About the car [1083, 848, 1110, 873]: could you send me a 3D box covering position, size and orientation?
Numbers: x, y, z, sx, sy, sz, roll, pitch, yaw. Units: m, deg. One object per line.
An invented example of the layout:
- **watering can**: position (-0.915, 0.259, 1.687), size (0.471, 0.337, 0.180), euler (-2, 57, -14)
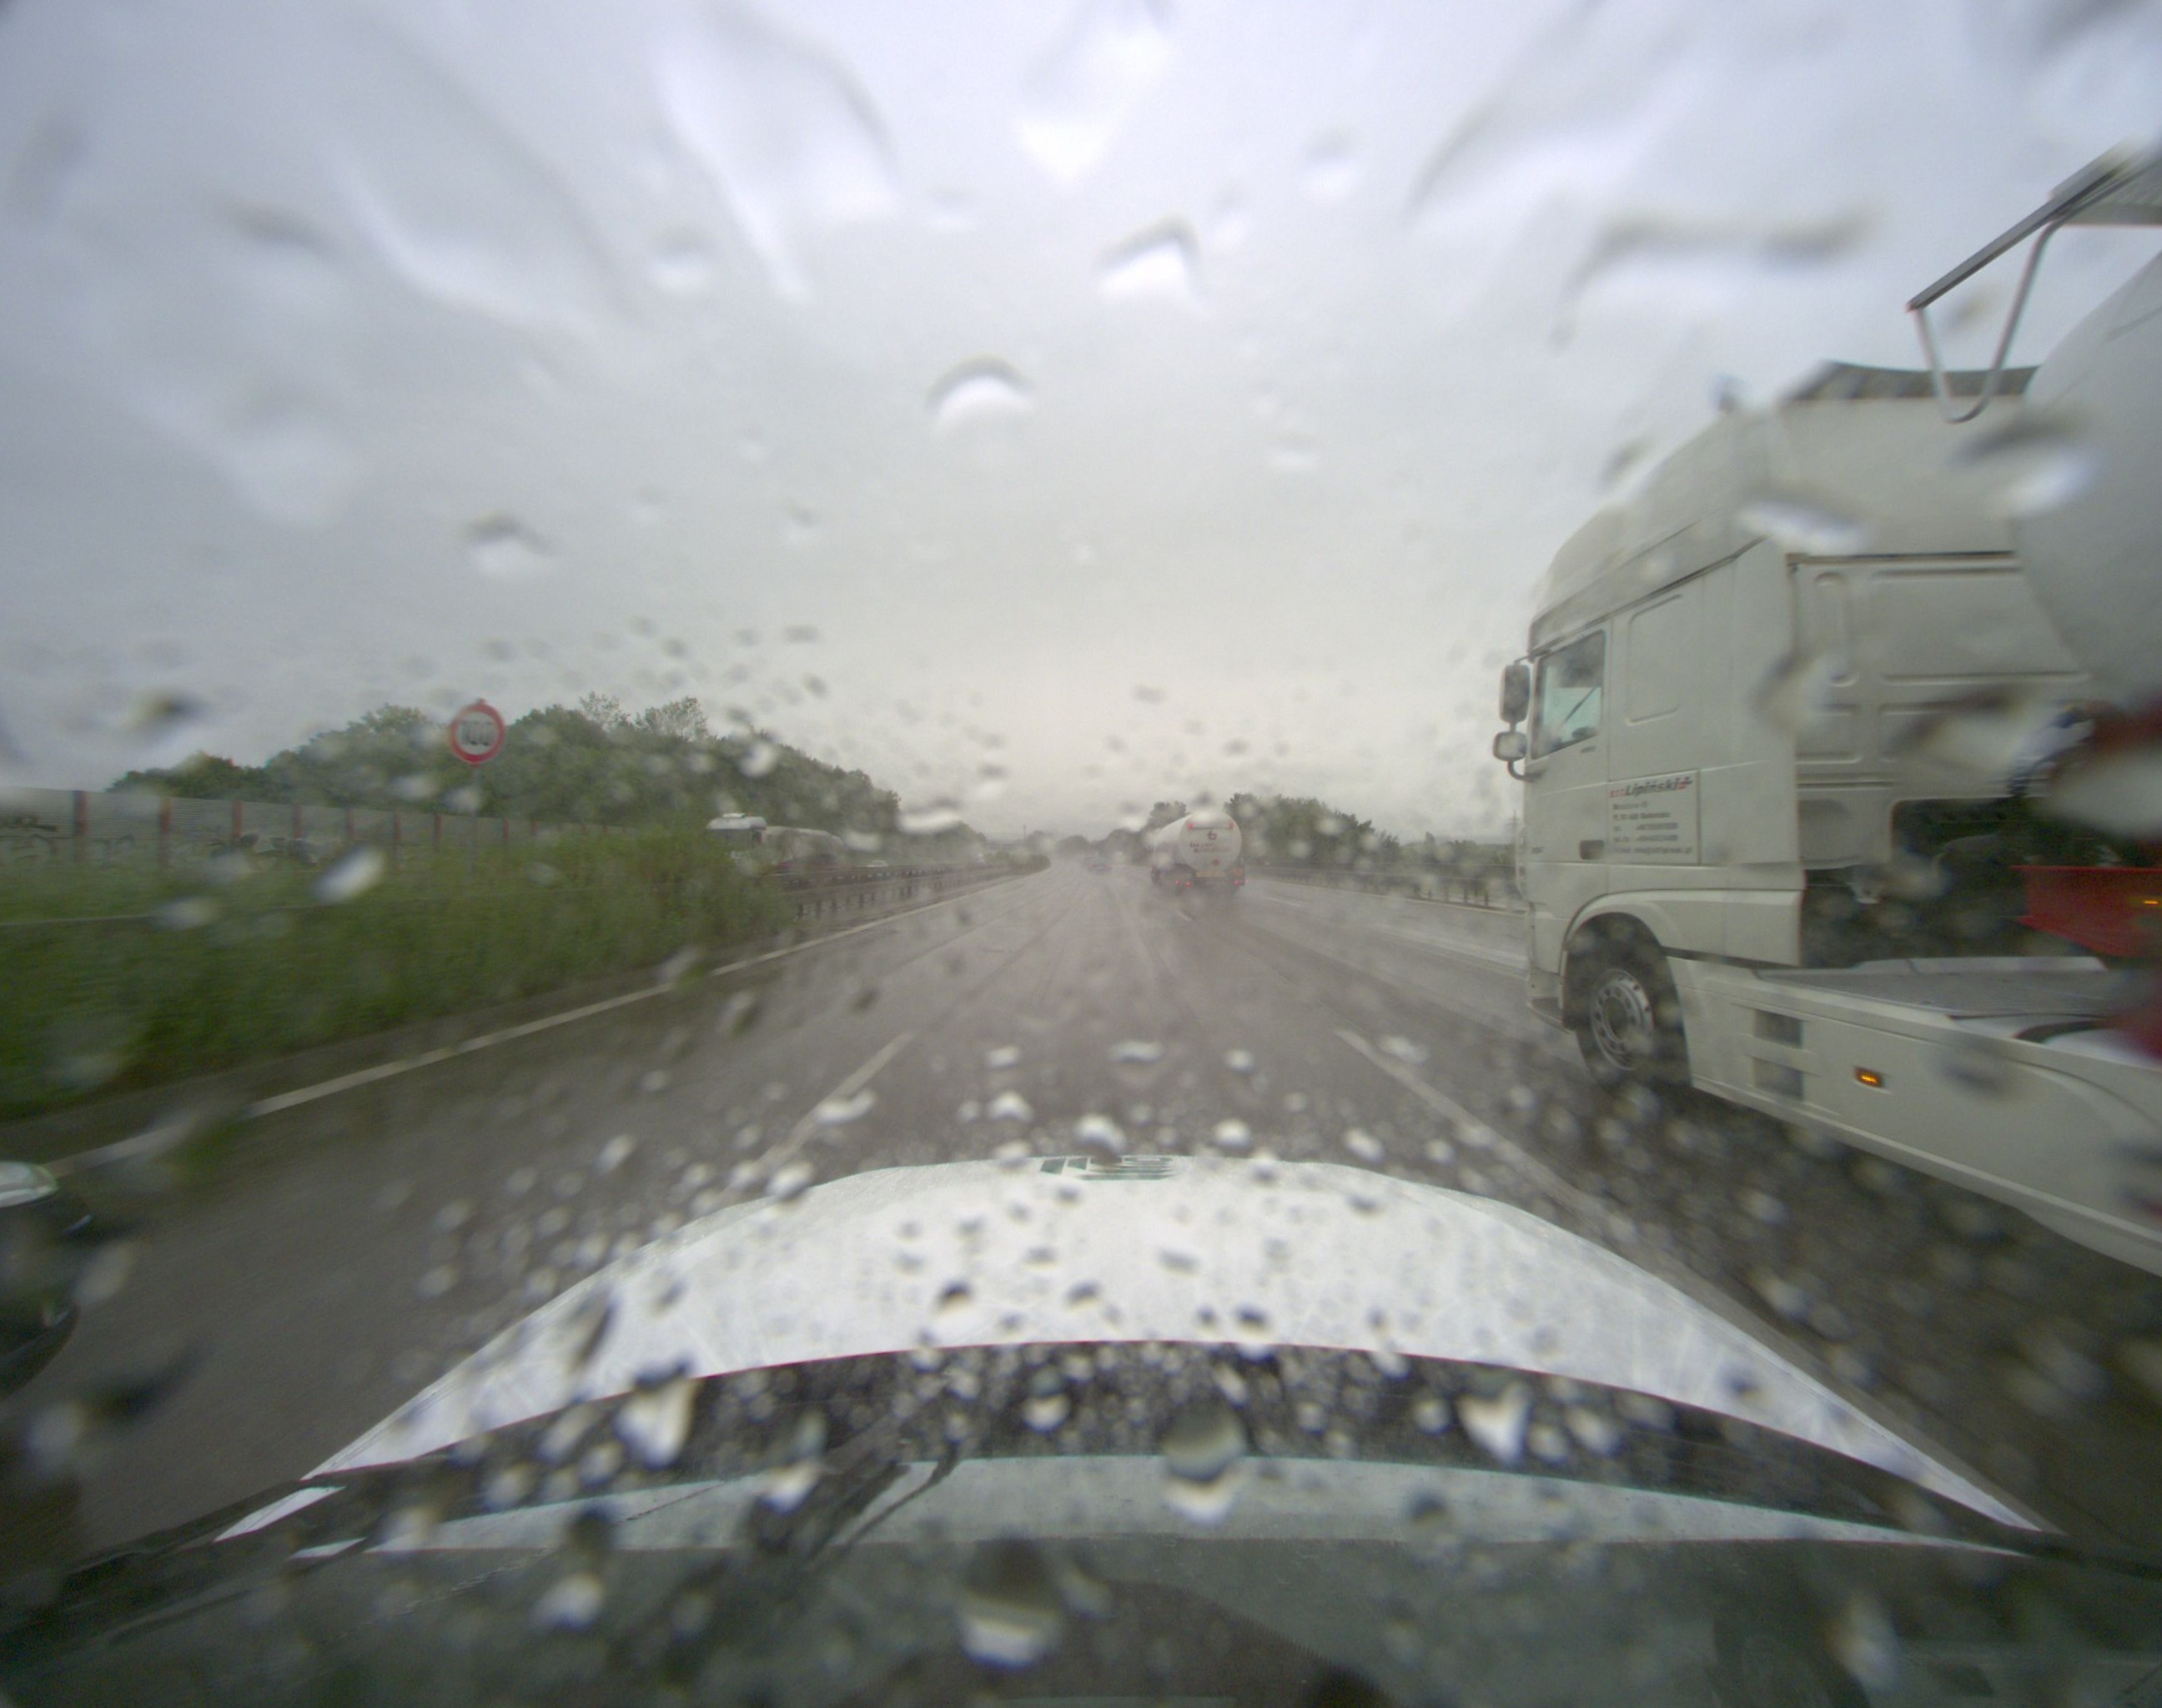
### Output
- **car**: position (1.119, 0.470, 61.638), size (1.972, 1.756, 4.481), euler (-1, 0, 0)

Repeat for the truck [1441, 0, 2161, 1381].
- **truck**: position (4.462, -0.490, 3.048), size (3.094, 3.807, 7.212), euler (0, 0, 1)

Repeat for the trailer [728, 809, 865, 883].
- **trailer**: position (-15.860, -0.419, 47.050), size (3.062, 3.612, 13.570), euler (0, 0, 0)

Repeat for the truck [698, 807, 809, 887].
- **truck**: position (-15.916, -0.328, 40.075), size (2.972, 3.599, 6.000), euler (0, 0, 0)

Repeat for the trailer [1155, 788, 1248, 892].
- **trailer**: position (4.860, -0.502, 34.581), size (2.993, 3.848, 8.628), euler (-1, 0, 2)

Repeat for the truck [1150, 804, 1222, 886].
- **truck**: position (5.041, -0.401, 40.167), size (2.932, 3.684, 6.364), euler (-1, 0, 2)

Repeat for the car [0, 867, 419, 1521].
- **car**: position (-3.556, 0.807, 0.462), size (2.047, 1.485, 5.159), euler (0, 0, 1)
